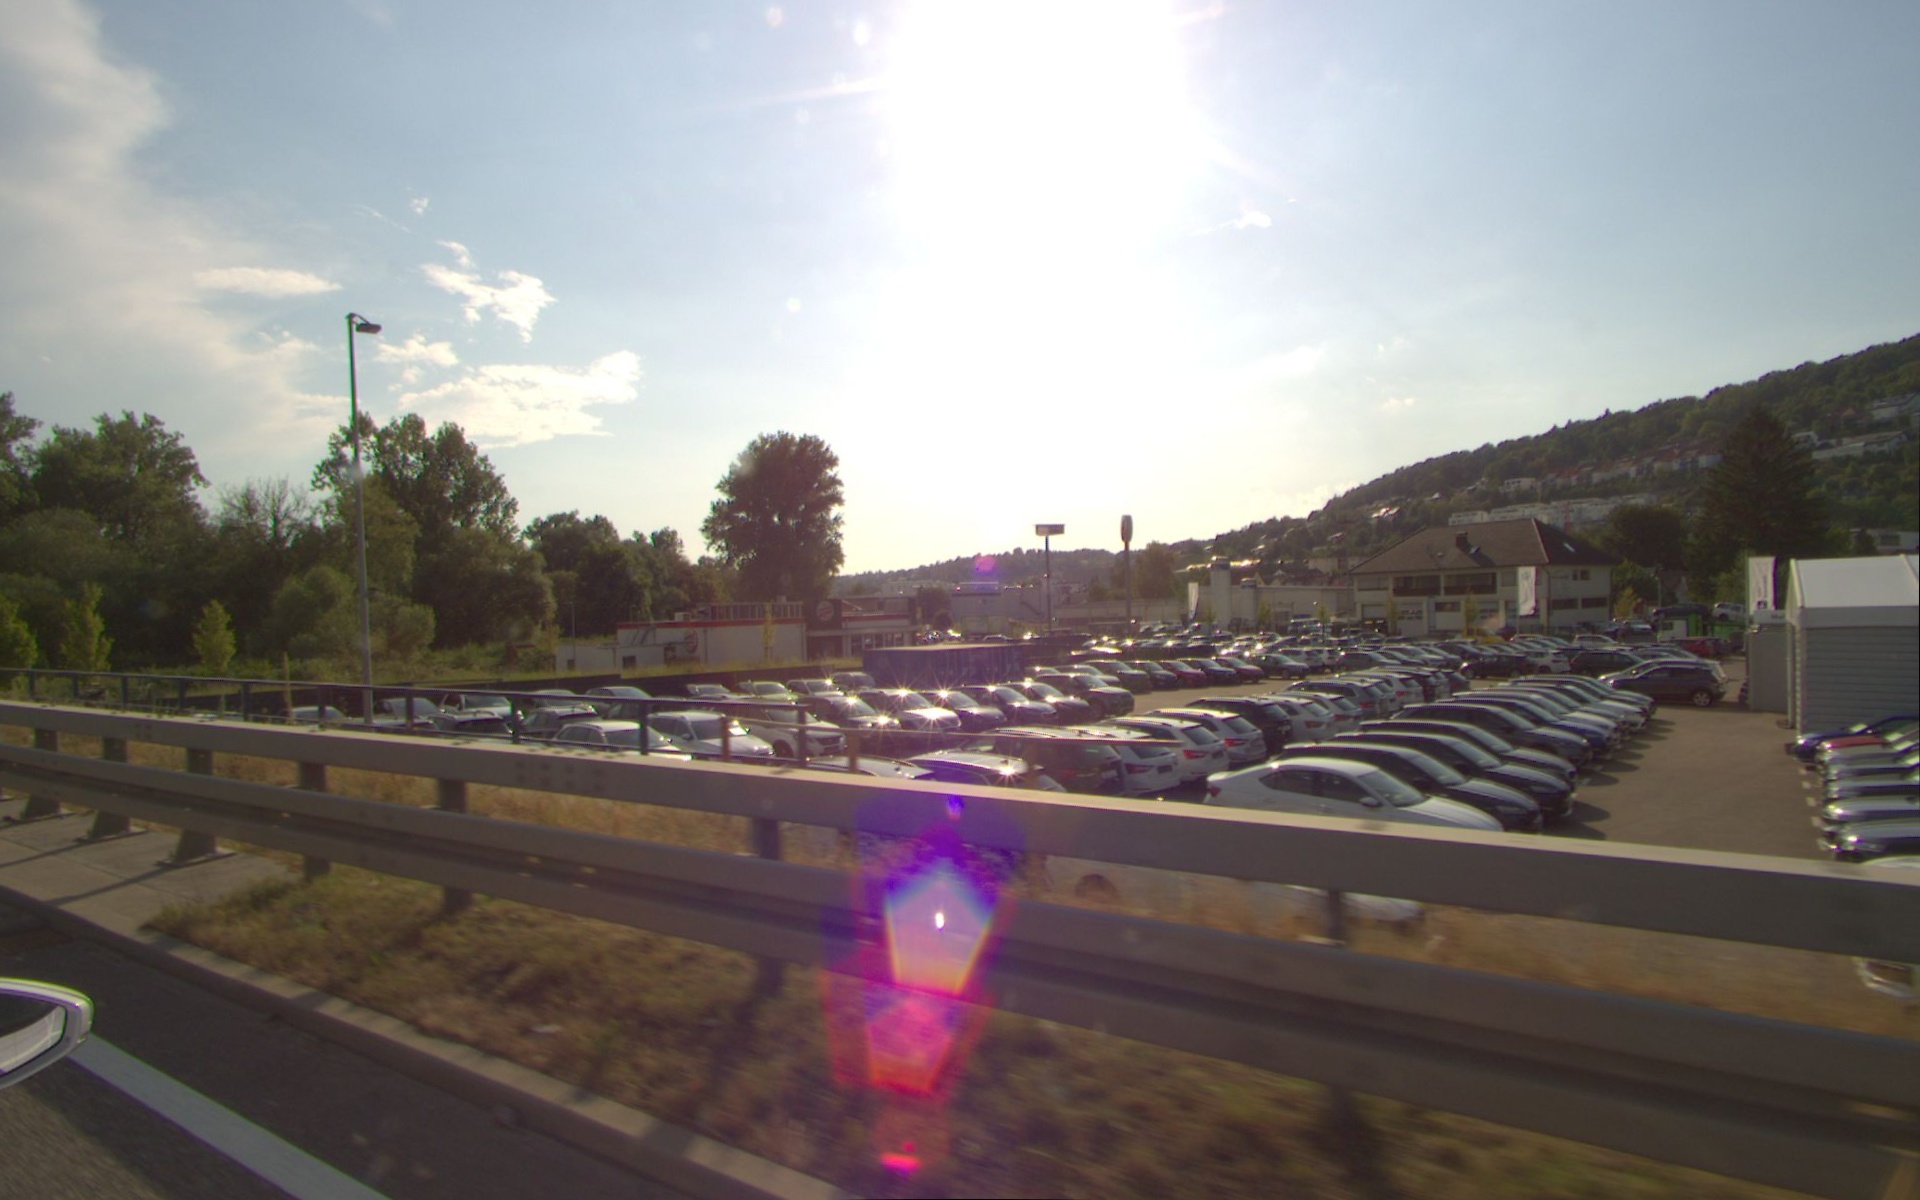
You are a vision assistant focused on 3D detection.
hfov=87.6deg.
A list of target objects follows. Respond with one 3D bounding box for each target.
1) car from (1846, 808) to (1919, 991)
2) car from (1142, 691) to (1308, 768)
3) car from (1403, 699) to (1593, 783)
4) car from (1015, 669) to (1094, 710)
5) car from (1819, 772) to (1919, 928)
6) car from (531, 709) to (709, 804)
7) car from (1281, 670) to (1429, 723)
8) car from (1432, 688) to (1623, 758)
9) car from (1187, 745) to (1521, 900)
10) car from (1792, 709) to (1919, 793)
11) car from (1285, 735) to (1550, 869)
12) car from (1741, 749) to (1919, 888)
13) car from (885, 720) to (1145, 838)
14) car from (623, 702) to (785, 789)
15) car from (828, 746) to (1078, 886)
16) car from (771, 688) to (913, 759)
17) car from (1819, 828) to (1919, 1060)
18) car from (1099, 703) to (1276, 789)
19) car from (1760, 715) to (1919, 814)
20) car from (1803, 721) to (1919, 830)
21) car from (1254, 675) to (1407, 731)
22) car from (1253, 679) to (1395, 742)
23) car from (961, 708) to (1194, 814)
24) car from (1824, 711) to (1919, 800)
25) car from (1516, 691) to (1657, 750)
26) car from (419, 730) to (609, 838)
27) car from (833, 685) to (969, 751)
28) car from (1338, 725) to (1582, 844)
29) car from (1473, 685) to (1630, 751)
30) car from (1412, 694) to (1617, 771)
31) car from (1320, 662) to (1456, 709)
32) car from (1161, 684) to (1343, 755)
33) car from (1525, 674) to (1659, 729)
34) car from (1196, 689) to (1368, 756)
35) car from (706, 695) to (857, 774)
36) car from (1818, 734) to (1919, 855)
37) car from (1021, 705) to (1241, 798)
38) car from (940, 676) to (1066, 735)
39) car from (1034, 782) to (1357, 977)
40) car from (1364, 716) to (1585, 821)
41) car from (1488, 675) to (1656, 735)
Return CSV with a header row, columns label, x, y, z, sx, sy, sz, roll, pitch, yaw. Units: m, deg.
label,x,y,z,sx,sy,sz,roll,pitch,yaw
car,12.424,3.351,10.361,4.668,1.657,1.874,-1,-2,36
car,7.062,3.395,26.876,3.950,1.705,1.769,-1,-2,38
car,13.475,3.456,25.178,3.951,1.705,1.768,-2,-2,39
car,4.652,4.388,49.480,1.734,1.817,3.748,1,-2,-41
car,13.768,3.245,12.328,4.667,1.657,1.874,-1,-2,36
car,-7.718,3.449,22.641,3.944,1.705,1.771,-1,-2,33
car,14.254,3.437,36.276,4.670,1.657,1.873,-2,-2,37
car,16.518,3.523,29.265,4.670,1.657,1.873,-2,-2,38
car,6.215,3.416,16.146,4.674,1.657,1.872,-2,-2,40
car,22.251,3.563,23.626,3.951,1.705,1.768,-2,-2,39
car,7.982,3.435,17.644,3.951,1.705,1.768,-2,-2,39
car,14.494,3.275,14.734,4.671,1.657,1.873,-2,-2,38
car,1.020,3.348,19.426,4.661,1.671,1.996,-1,-2,31
car,-6.324,3.493,24.611,3.948,1.705,1.770,-1,-2,36
car,-0.161,3.530,16.964,3.944,1.705,1.772,-1,-2,33
car,-3.436,3.492,28.811,3.949,1.705,1.769,-1,-2,37
car,10.395,3.132,8.355,4.664,1.646,1.876,-1,-2,34
car,5.613,3.554,24.925,3.951,1.705,1.768,-2,-2,39
car,19.069,3.320,20.072,4.671,1.657,1.873,-2,-2,38
car,17.767,3.199,17.967,3.951,1.705,1.768,-2,-2,39
car,12.805,3.517,34.775,4.670,1.657,1.873,-2,-2,37
car,11.671,3.492,32.182,3.949,1.705,1.769,-1,-2,37
car,2.454,3.314,21.291,4.599,1.738,1.832,-1,-2,31
car,21.171,3.371,21.424,3.951,1.705,1.768,-2,-2,39
car,21.553,4.104,34.508,3.951,1.705,1.768,-2,-2,39
car,-9.309,3.729,20.823,3.944,1.705,1.771,-1,-2,33
car,-1.827,3.519,30.427,3.949,1.705,1.769,-1,-2,37
car,9.577,3.443,19.325,3.951,1.705,1.768,-2,-2,39
car,18.134,3.559,30.759,3.951,1.705,1.768,-2,-2,39
car,14.977,3.519,27.178,4.670,1.657,1.873,-2,-2,38
car,16.967,3.359,39.835,4.670,1.657,1.873,-2,-2,37
car,8.308,3.347,28.649,4.668,1.657,1.874,-1,-2,36
car,22.828,3.627,36.228,3.951,1.705,1.768,-2,-2,39
car,9.730,3.659,30.410,4.666,1.657,1.875,-1,-2,35
car,-4.794,3.510,26.655,3.949,1.705,1.769,-1,-2,37
car,16.426,3.199,16.062,3.951,1.705,1.768,-2,-2,39
car,3.889,3.397,23.140,4.665,1.657,1.875,-1,-2,34
car,1.423,3.515,33.807,3.949,1.705,1.769,-1,-2,37
car,2.999,3.458,12.989,3.782,1.700,1.609,-1,-2,33
car,10.944,3.507,21.434,3.951,1.705,1.768,-2,-2,39
car,19.892,3.358,32.625,4.516,1.657,1.873,-2,-2,38
